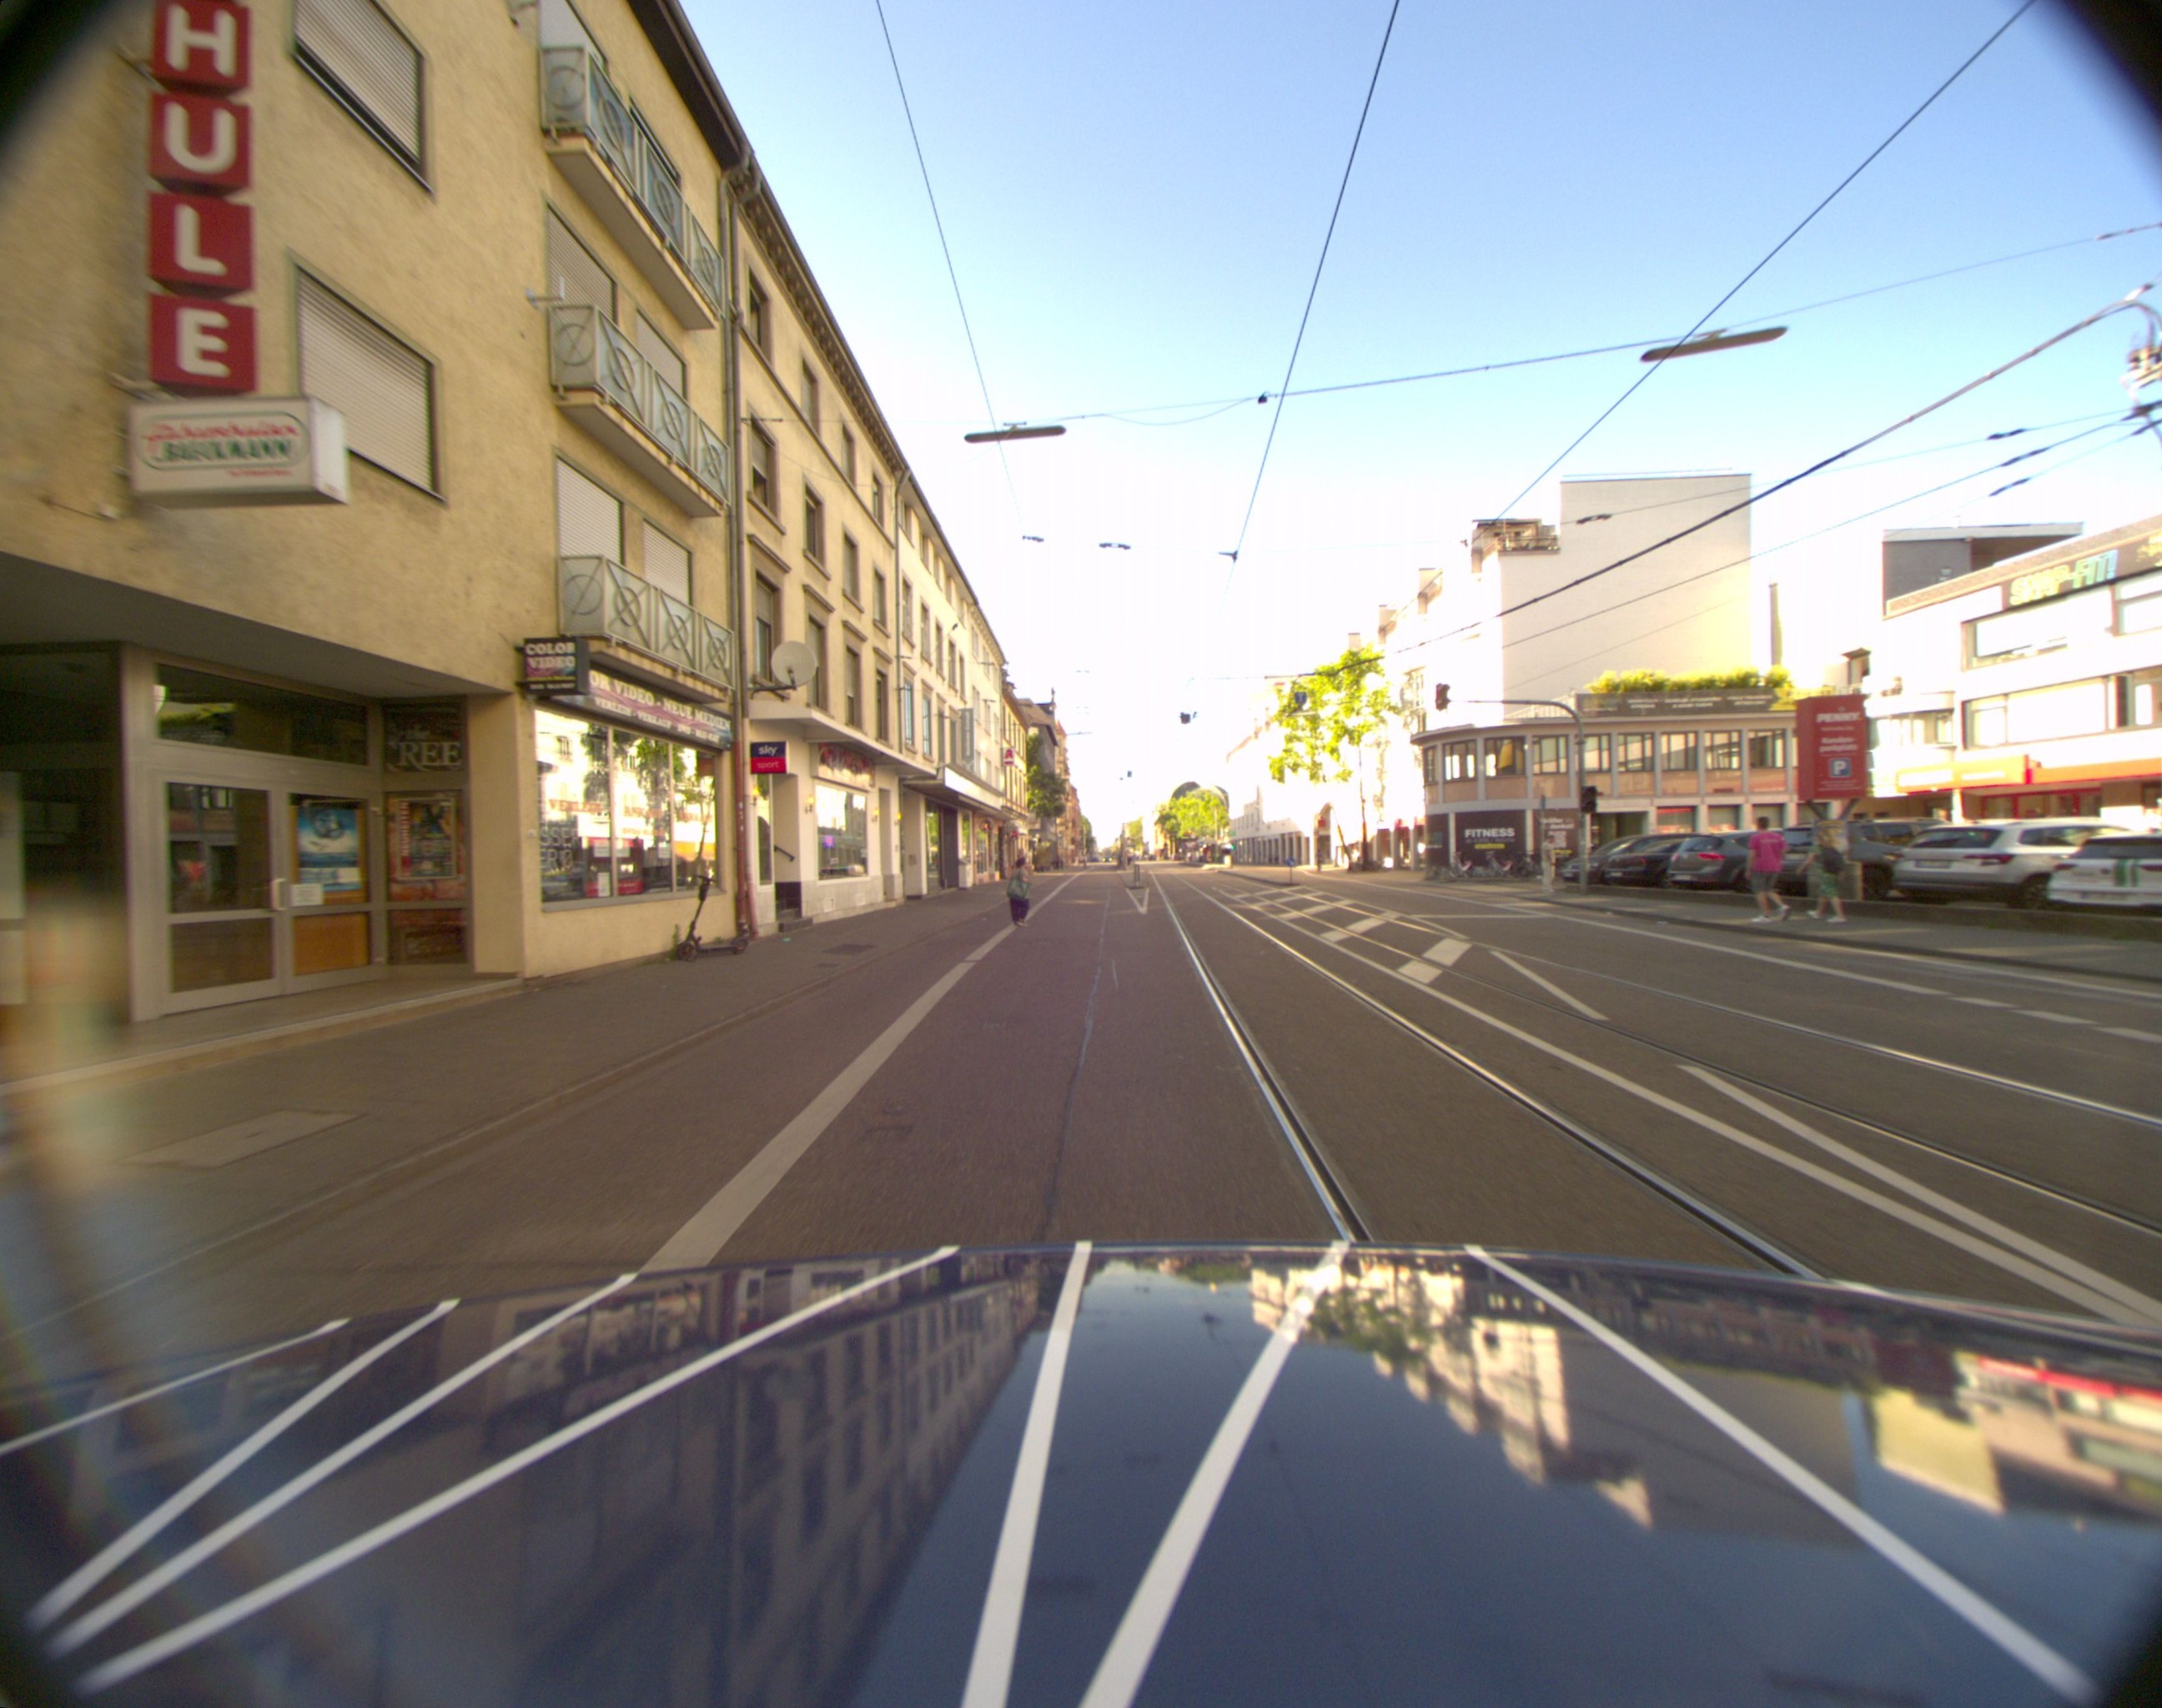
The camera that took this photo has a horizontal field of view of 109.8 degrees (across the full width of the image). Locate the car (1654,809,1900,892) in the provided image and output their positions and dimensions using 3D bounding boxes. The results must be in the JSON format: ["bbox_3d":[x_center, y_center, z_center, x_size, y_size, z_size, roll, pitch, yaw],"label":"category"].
[{"bbox_3d":[16.737,-0.085,18.445,4.243,1.801,1.785,-1,1,2],"label":"car"}]

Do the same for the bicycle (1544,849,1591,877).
[{"bbox_3d":[19.408,0.334,30.358,0.464,1.071,1.878,-2,1,-7],"label":"bicycle"}]

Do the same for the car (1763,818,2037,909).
[{"bbox_3d":[16.871,0.184,15.807,3.698,1.663,1.785,-2,1,2],"label":"car"}]

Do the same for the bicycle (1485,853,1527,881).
[{"bbox_3d":[16.871,0.485,30.182,0.464,1.073,1.878,-1,0,-6],"label":"bicycle"}]

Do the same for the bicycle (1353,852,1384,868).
[{"bbox_3d":[19.272,0.390,50.988,1.876,1.071,0.465,-1,1,10],"label":"bicycle"}]

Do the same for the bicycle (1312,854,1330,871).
[{"bbox_3d":[17.147,0.608,54.284,0.565,1.117,2.003,-7,1,1],"label":"bicycle"}]

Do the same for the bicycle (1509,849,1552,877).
[{"bbox_3d":[17.938,0.341,30.352,0.464,1.081,1.878,-1,1,-6],"label":"bicycle"}]

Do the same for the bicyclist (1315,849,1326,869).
[{"bbox_3d":[17.098,0.339,54.174,0.564,1.354,0.718,-1,2,-1],"label":"bicyclist"}]

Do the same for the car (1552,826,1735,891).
[{"bbox_3d":[17.265,0.129,23.479,4.243,1.753,1.785,-2,1,2],"label":"car"}]

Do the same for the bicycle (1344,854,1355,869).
[{"bbox_3d":[17.865,0.509,50.552,0.470,0.926,1.755,-1,0,12],"label":"bicycle"}]

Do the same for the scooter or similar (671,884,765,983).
[{"bbox_3d":[-5.232,1.113,11.020,0.410,1.274,1.285,-1,1,18],"label":"scooter or similar"}]

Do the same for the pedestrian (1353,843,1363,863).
[{"bbox_3d":[22.588,-0.094,62.001,0.563,1.635,0.523,-1,1,2],"label":"pedestrian"}]

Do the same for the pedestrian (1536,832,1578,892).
[{"bbox_3d":[14.336,0.231,22.892,0.715,1.754,0.780,-2,1,-5],"label":"pedestrian"}]

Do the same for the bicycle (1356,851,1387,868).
[{"bbox_3d":[19.096,0.388,49.976,1.876,1.071,0.465,-1,1,10],"label":"bicycle"}]

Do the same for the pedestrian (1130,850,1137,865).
[{"bbox_3d":[5.756,0.395,82.594,0.716,1.635,0.400,-2,1,4],"label":"pedestrian"}]

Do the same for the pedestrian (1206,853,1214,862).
[{"bbox_3d":[14.793,0.437,87.457,0.794,0.982,0.747,-1,1,2],"label":"pedestrian"}]

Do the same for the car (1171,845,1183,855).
[{"bbox_3d":[19.954,-0.794,157.717,1.884,2.001,4.000,-3,-1,0],"label":"car"}]

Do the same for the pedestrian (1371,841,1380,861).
[{"bbox_3d":[24.000,-0.219,61.894,0.563,1.635,0.523,-1,1,2],"label":"pedestrian"}]

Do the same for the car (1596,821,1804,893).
[{"bbox_3d":[17.037,0.076,21.075,4.243,1.801,1.785,-1,1,2],"label":"car"}]

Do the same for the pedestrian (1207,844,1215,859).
[{"bbox_3d":[14.298,-0.284,83.423,0.794,1.635,0.747,-1,1,2],"label":"pedestrian"}]

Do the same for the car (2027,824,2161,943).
[{"bbox_3d":[16.614,0.340,10.703,4.243,1.600,1.785,-1,0,2],"label":"car"}]

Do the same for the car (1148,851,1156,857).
[{"bbox_3d":[18.762,-0.030,201.520,1.998,1.608,4.000,-2,0,2],"label":"car"}]

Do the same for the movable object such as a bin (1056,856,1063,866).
[{"bbox_3d":[-2.482,0.816,87.673,0.717,1.062,0.637,-2,1,1],"label":"movable object such as a bin"}]

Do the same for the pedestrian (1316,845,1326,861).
[{"bbox_3d":[24.174,-0.126,76.660,0.747,1.635,0.731,-1,1,2],"label":"pedestrian"}]

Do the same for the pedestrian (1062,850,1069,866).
[{"bbox_3d":[-1.697,0.450,84.093,0.695,1.680,0.688,4,1,2],"label":"pedestrian"}]

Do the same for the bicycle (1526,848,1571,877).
[{"bbox_3d":[18.563,0.316,30.197,0.464,1.071,1.878,-2,1,-5],"label":"bicycle"}]

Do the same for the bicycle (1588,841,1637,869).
[{"bbox_3d":[21.168,0.045,30.313,0.464,1.071,1.878,-2,1,-7],"label":"bicycle"}]

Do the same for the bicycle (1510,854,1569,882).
[{"bbox_3d":[17.385,0.546,28.864,1.874,1.030,0.426,-1,1,27],"label":"bicycle"}]

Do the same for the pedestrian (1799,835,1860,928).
[{"bbox_3d":[13.237,0.477,13.449,0.573,1.608,0.499,-1,1,0],"label":"pedestrian"}]

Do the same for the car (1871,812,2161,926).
[{"bbox_3d":[16.650,0.194,13.001,4.243,1.802,1.784,-1,3,2],"label":"car"}]

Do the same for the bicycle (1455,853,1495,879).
[{"bbox_3d":[16.231,0.460,31.354,0.525,1.030,1.878,-1,0,-6],"label":"bicycle"}]

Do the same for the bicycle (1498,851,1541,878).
[{"bbox_3d":[17.455,0.393,30.291,0.464,1.030,1.878,-1,0,-6],"label":"bicycle"}]

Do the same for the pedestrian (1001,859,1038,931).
[{"bbox_3d":[-1.380,0.907,17.123,0.781,1.551,0.650,-2,1,-5],"label":"pedestrian"}]

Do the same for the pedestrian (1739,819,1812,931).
[{"bbox_3d":[12.373,0.360,13.555,0.639,1.935,0.709,-1,1,0],"label":"pedestrian"}]

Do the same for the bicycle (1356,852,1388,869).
[{"bbox_3d":[18.907,0.396,49.427,1.876,1.071,0.465,-1,1,10],"label":"bicycle"}]
